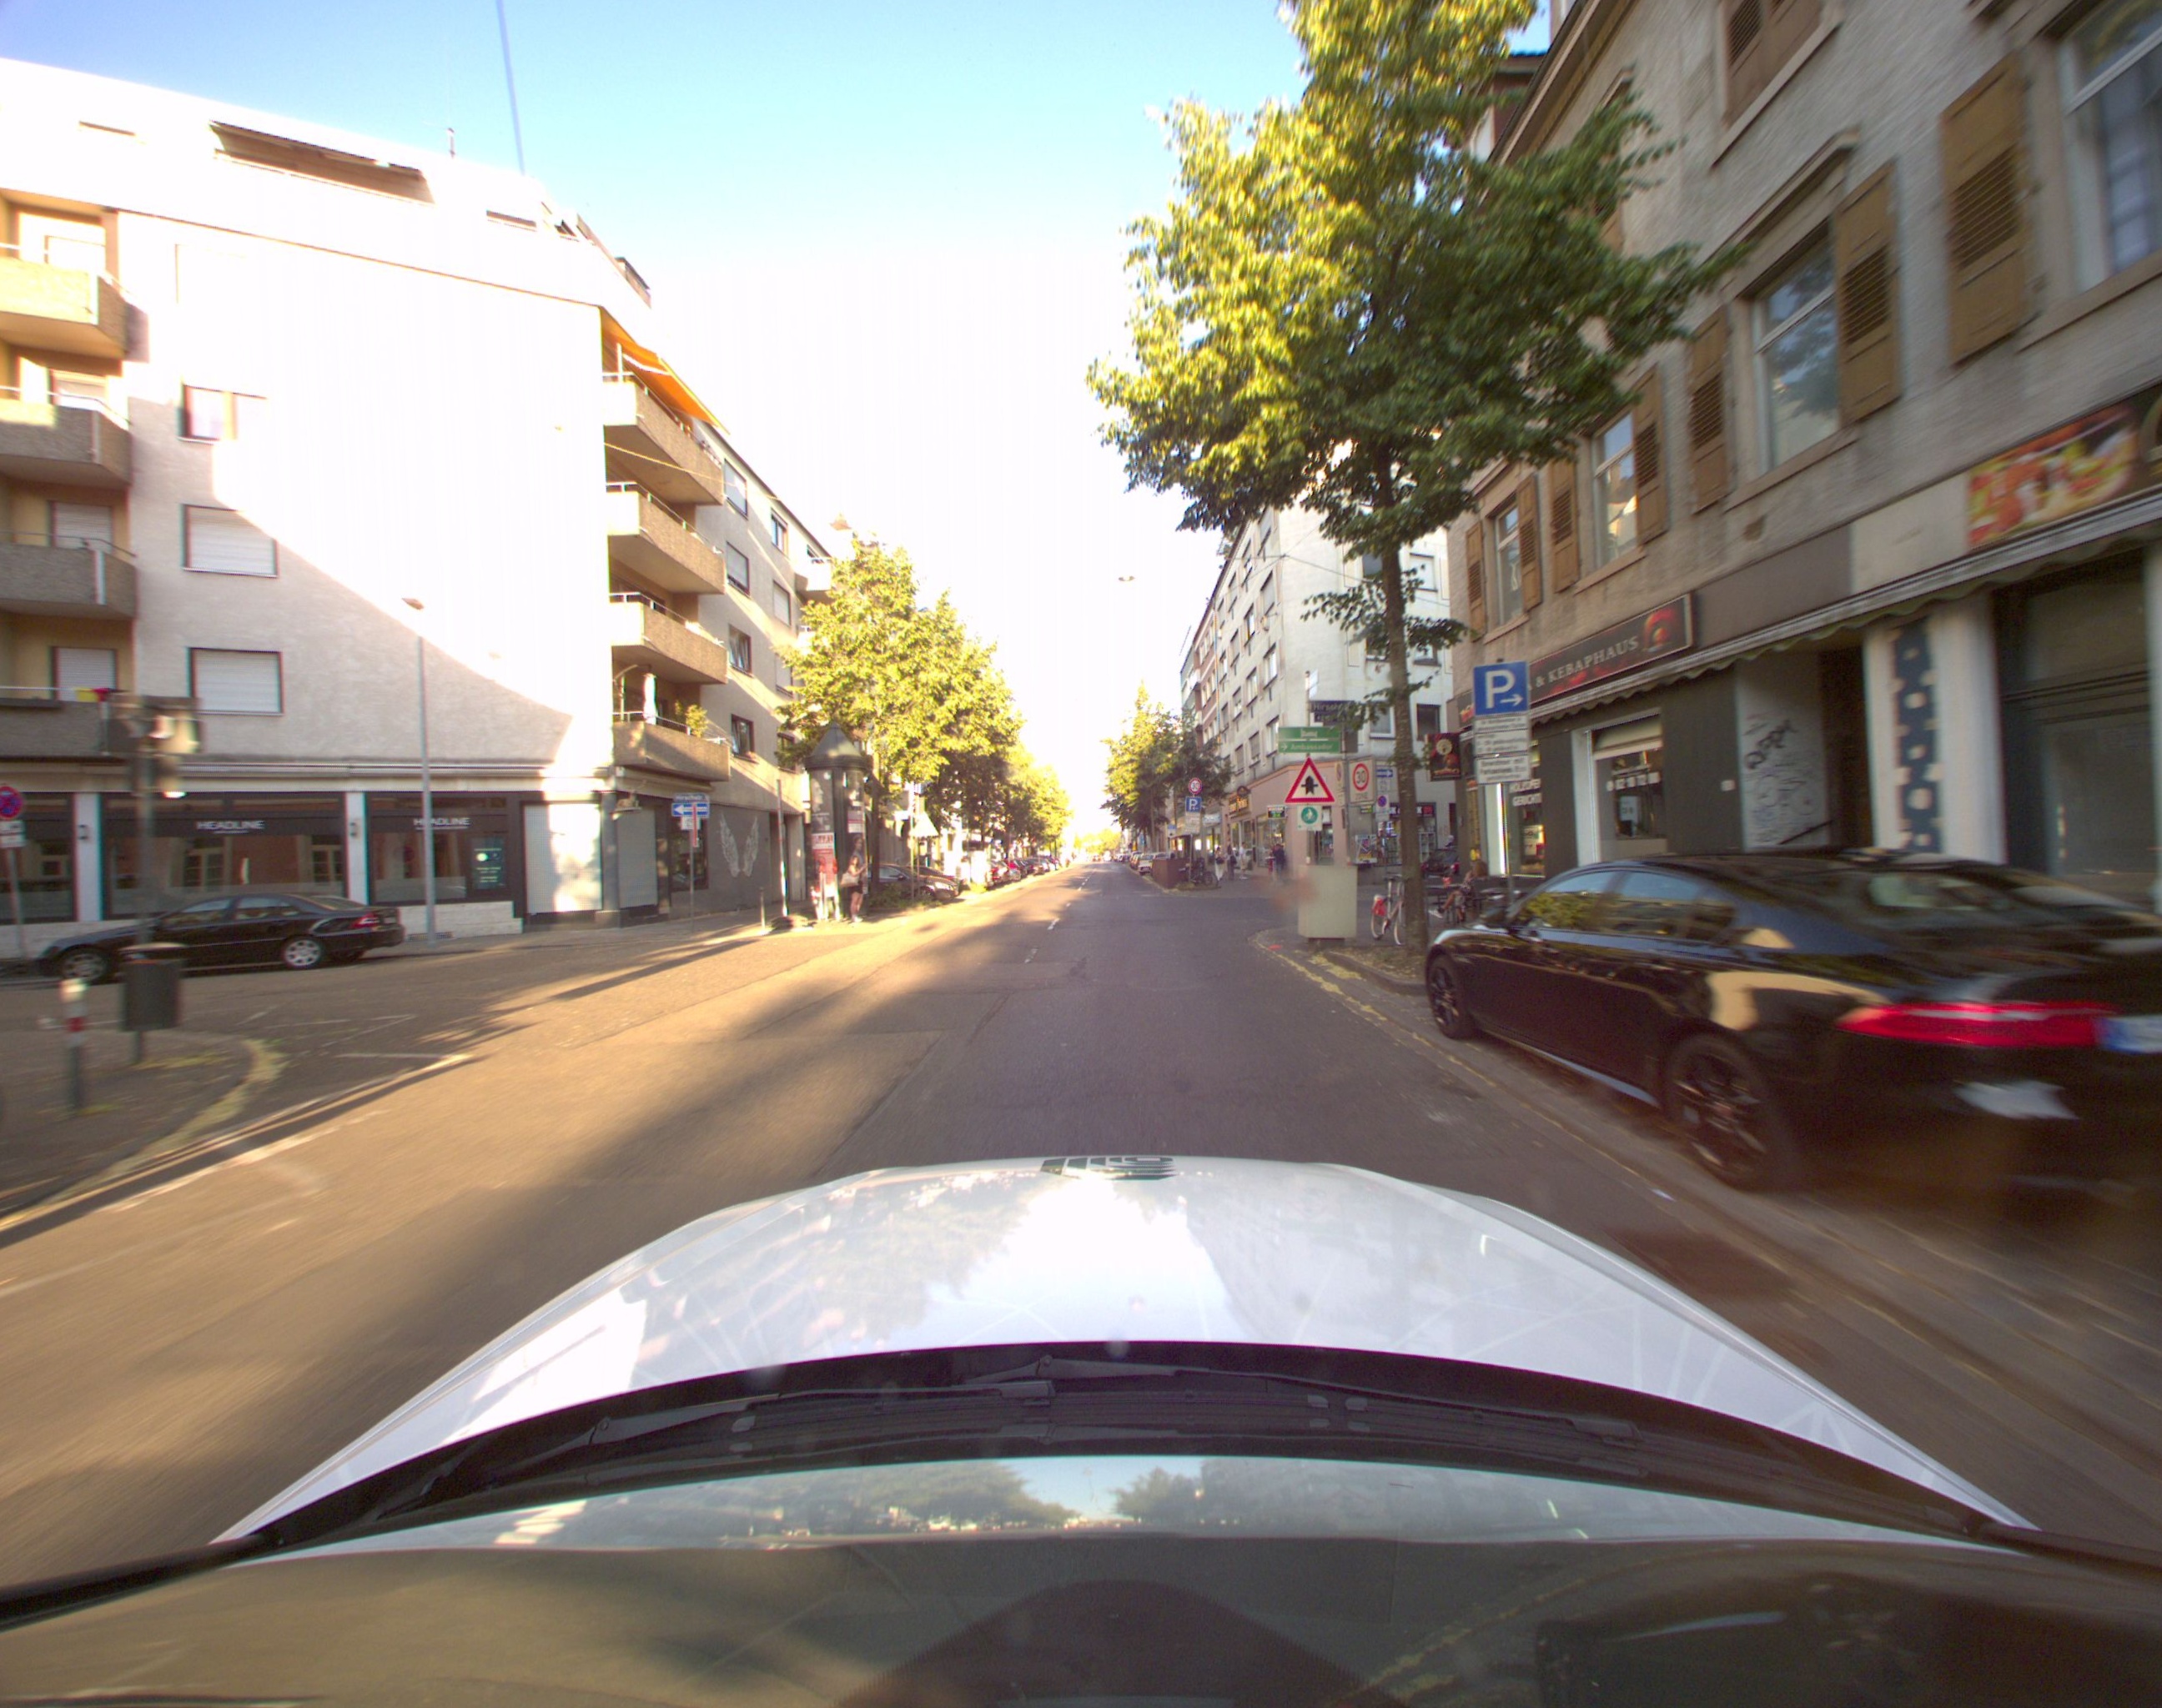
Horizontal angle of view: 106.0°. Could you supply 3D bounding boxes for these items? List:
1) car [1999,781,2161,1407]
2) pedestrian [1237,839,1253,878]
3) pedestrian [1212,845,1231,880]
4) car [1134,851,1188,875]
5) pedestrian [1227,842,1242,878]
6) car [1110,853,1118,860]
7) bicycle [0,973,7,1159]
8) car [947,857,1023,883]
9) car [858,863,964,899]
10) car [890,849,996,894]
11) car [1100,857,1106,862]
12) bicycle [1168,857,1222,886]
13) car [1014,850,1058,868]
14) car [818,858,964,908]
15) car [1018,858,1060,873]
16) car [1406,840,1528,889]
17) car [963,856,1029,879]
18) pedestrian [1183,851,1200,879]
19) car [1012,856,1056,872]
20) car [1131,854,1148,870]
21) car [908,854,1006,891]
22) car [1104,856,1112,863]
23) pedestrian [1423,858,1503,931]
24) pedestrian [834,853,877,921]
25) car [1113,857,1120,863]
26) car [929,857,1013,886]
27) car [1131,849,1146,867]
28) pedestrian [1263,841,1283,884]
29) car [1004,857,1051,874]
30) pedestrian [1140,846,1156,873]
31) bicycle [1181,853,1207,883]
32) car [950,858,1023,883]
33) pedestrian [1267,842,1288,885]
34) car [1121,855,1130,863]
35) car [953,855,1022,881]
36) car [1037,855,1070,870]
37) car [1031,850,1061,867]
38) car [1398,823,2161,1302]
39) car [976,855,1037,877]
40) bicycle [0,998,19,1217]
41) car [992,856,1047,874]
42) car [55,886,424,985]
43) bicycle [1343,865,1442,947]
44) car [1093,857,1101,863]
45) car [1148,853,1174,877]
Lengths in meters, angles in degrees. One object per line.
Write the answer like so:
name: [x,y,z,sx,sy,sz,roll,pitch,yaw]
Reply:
car: [3.450,0.550,0.301,1.680,1.575,4.015,-5,0,2]
pedestrian: [7.759,0.199,38.580,0.693,1.805,0.894,-2,0,10]
pedestrian: [6.738,0.395,39.117,0.791,1.625,0.915,-2,0,14]
car: [5.609,0.595,56.646,1.654,1.588,3.846,-2,0,44]
pedestrian: [7.312,0.286,38.807,0.626,1.680,0.895,-2,0,14]
car: [7.711,0.628,188.546,1.745,1.540,3.306,-2,-1,3]
bicycle: [-6.886,1.217,4.367,1.484,1.059,0.470,-1,-1,-5]
car: [-5.952,1.010,50.699,4.425,1.484,1.810,-1,0,2]
car: [-6.899,1.093,33.381,3.773,1.392,2.046,-1,-1,4]
car: [-6.439,0.819,38.334,4.555,1.962,1.991,-1,0,1]
car: [5.816,1.471,216.641,1.563,1.506,3.306,-2,-1,3]
bicycle: [4.468,0.687,31.965,1.935,1.074,0.710,-2,0,33]
car: [-4.728,0.502,86.604,4.425,1.759,1.920,-1,0,2]
car: [-6.429,0.964,27.971,4.531,1.541,1.811,-1,0,0]
car: [-4.633,1.294,89.715,4.425,1.499,1.920,-1,0,2]
car: [13.145,0.299,27.723,3.679,1.488,1.776,-2,2,-23]
car: [-6.009,0.945,57.998,4.425,1.568,1.920,-1,0,2]
pedestrian: [5.431,0.541,40.104,0.723,1.378,0.781,-2,0,1]
car: [-4.860,1.042,84.497,4.287,1.598,1.920,-1,0,2]
car: [5.876,0.824,82.137,1.507,1.561,3.516,-2,0,3]
car: [-6.183,0.922,40.973,4.554,1.698,2.061,-1,0,2]
car: [6.548,1.352,198.164,1.714,1.475,3.306,-2,-1,3]
pedestrian: [6.423,0.672,13.760,0.679,1.141,1.361,-3,-2,2]
pedestrian: [-5.759,0.824,20.795,0.706,1.686,0.836,-2,0,10]
car: [7.756,1.324,177.202,1.507,1.298,3.306,-2,-1,3]
car: [-6.179,0.970,46.132,4.425,1.506,1.845,-1,0,2]
car: [6.211,0.409,88.592,1.507,1.864,4.238,-2,-1,3]
pedestrian: [7.501,0.323,31.837,0.565,1.599,0.664,-3,1,2]
car: [-5.237,1.102,80.182,4.425,1.523,1.920,-1,0,2]
pedestrian: [4.823,0.420,58.619,0.916,1.926,1.014,-1,0,-8]
bicycle: [4.654,0.570,33.423,0.593,1.178,1.856,-2,0,21]
car: [-6.097,1.053,53.009,4.425,1.458,1.860,-1,0,2]
pedestrian: [7.490,0.349,31.072,0.565,1.584,0.664,-3,1,2]
car: [7.417,0.911,136.262,1.507,1.276,3.306,-2,-1,3]
car: [-6.340,0.935,55.773,4.425,1.638,1.860,-1,0,2]
car: [-3.845,1.223,113.907,4.425,1.959,1.920,-2,0,2]
car: [-5.328,0.693,124.082,4.425,2.435,1.920,-2,-1,2]
car: [3.629,0.627,4.780,1.778,1.375,4.525,-5,0,1]
car: [-5.675,0.944,62.707,4.425,1.568,1.920,-1,0,2]
bicycle: [-5.944,1.192,3.788,1.672,1.021,0.445,0,-1,9]
car: [-5.237,0.936,69.225,4.425,1.448,1.920,-1,0,2]
car: [-15.034,1.388,14.928,4.211,1.380,1.985,-2,0,-22]
bicycle: [4.723,0.746,12.504,0.775,1.111,1.900,-3,-1,2]
car: [3.765,1.461,196.663,1.745,1.540,3.306,-2,-1,3]
car: [5.096,0.682,52.245,1.536,1.433,3.681,-2,0,3]
